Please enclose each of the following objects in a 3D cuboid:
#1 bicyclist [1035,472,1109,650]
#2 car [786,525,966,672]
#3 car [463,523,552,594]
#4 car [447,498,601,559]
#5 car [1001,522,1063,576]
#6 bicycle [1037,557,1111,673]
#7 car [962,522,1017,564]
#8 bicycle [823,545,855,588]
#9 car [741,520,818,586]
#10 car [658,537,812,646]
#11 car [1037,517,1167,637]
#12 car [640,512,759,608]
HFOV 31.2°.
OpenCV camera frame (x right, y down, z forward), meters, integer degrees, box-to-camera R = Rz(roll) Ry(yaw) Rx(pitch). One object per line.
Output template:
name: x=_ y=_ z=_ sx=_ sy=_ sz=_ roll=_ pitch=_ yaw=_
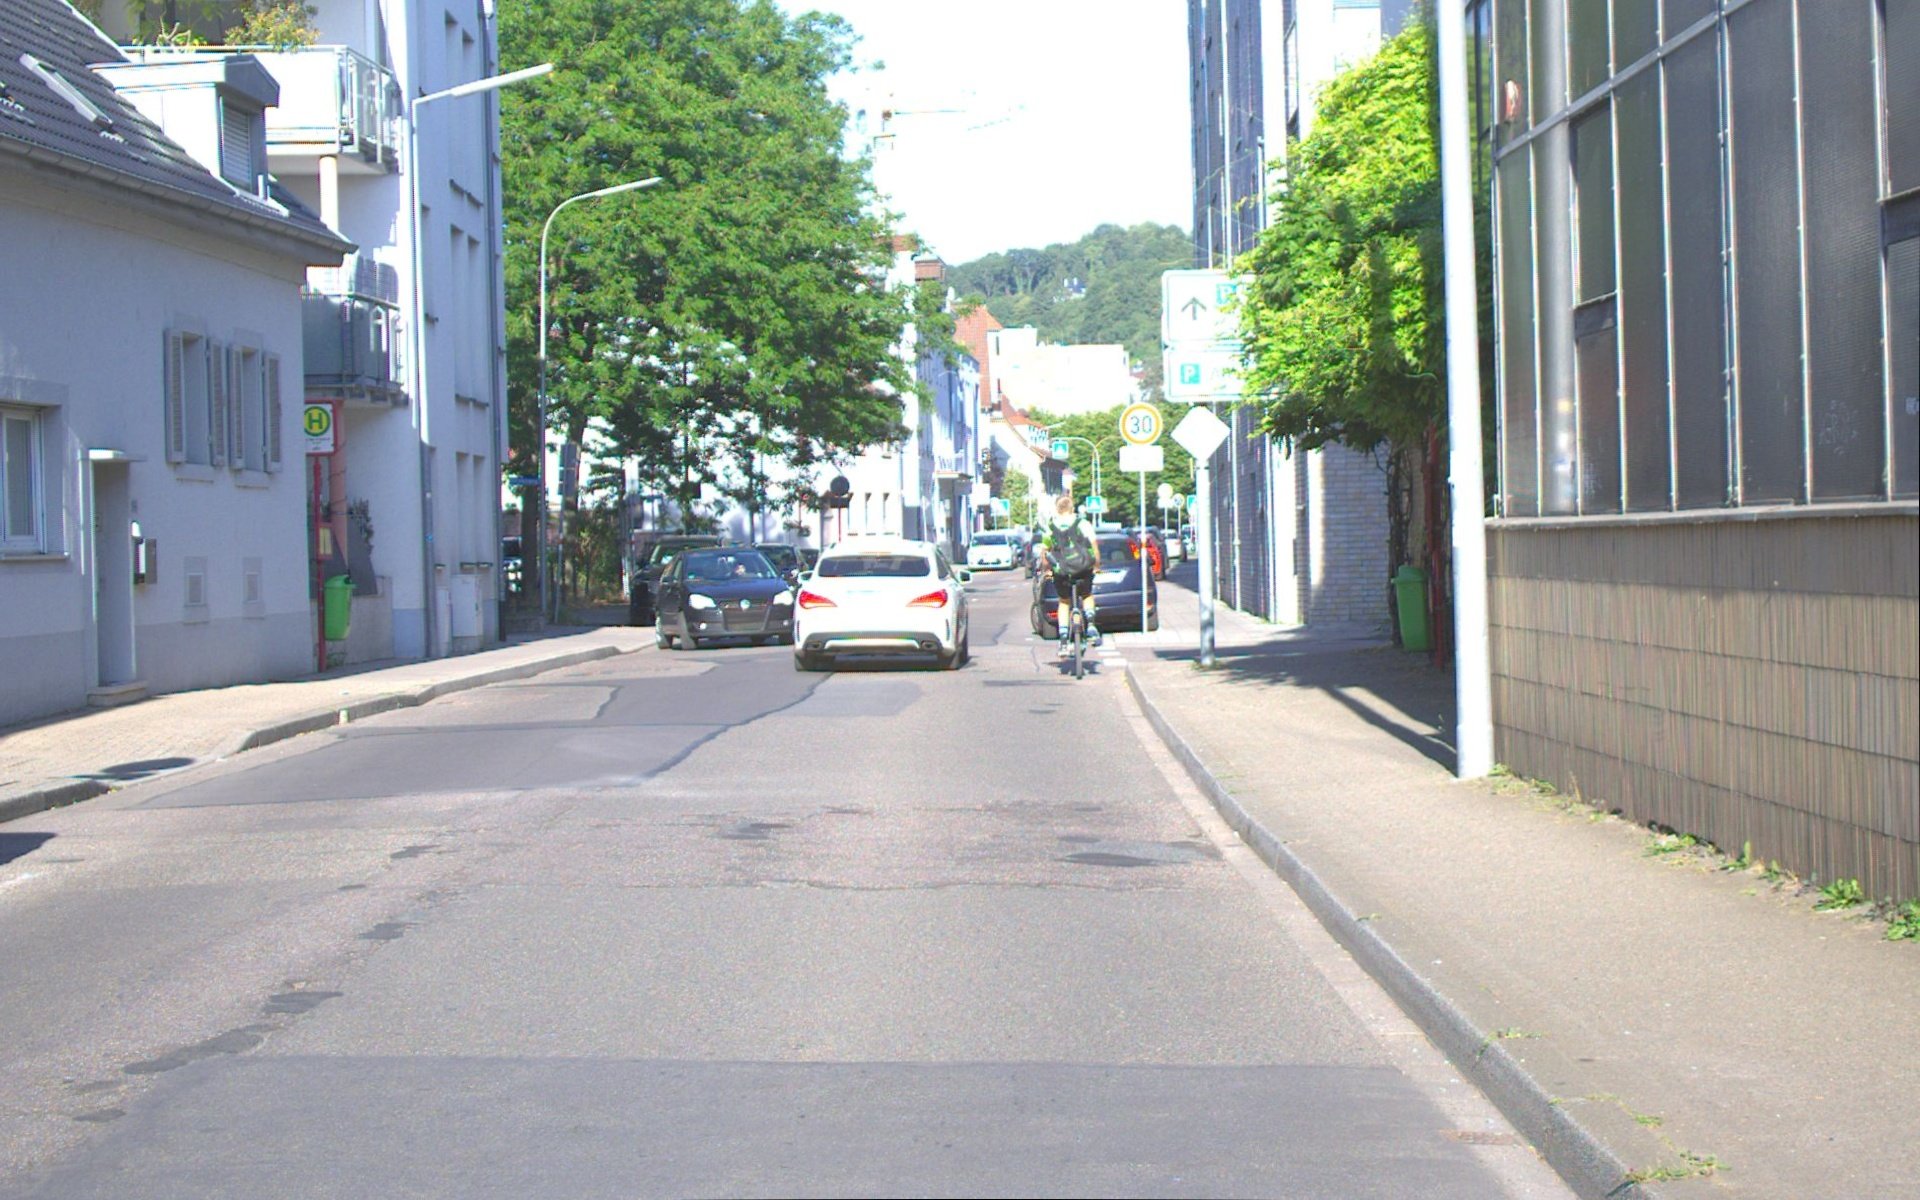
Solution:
bicyclist: x=1.144 y=-0.400 z=35.232 sx=0.698 sy=1.784 sz=1.041 roll=-2 pitch=1 yaw=1
car: x=-0.919 y=-0.044 z=38.144 sx=1.842 sy=1.486 sz=4.144 roll=-2 pitch=1 yaw=-1
car: x=-11.280 y=-1.057 z=85.854 sx=1.790 sy=1.684 sz=3.965 roll=0 pitch=2 yaw=-1
car: x=-12.106 y=-1.998 z=95.546 sx=3.902 sy=1.570 sz=1.709 roll=-2 pitch=1 yaw=6
car: x=2.475 y=-1.792 z=119.648 sx=1.853 sy=1.785 sz=4.608 roll=-2 pitch=2 yaw=-2
bicycle: x=1.161 y=0.139 z=35.338 sx=0.698 sy=1.126 sz=2.403 roll=-2 pitch=1 yaw=1
car: x=1.237 y=-2.380 z=142.716 sx=1.945 sy=1.581 sz=4.621 roll=-5 pitch=1 yaw=4
bicycle: x=-3.595 y=-1.001 z=102.188 sx=0.835 sy=1.213 sz=2.842 roll=-2 pitch=2 yaw=0
car: x=-4.552 y=-1.198 z=87.141 sx=1.704 sy=1.570 sz=3.914 roll=-2 pitch=2 yaw=0
car: x=-3.338 y=-0.144 z=50.355 sx=1.842 sy=1.486 sz=4.145 roll=-2 pitch=1 yaw=-9
car: x=2.078 y=-0.360 z=51.252 sx=1.629 sy=1.581 sz=4.069 roll=-5 pitch=1 yaw=0
car: x=-5.166 y=-0.830 z=68.676 sx=1.853 sy=1.785 sz=4.607 roll=-2 pitch=2 yaw=1
